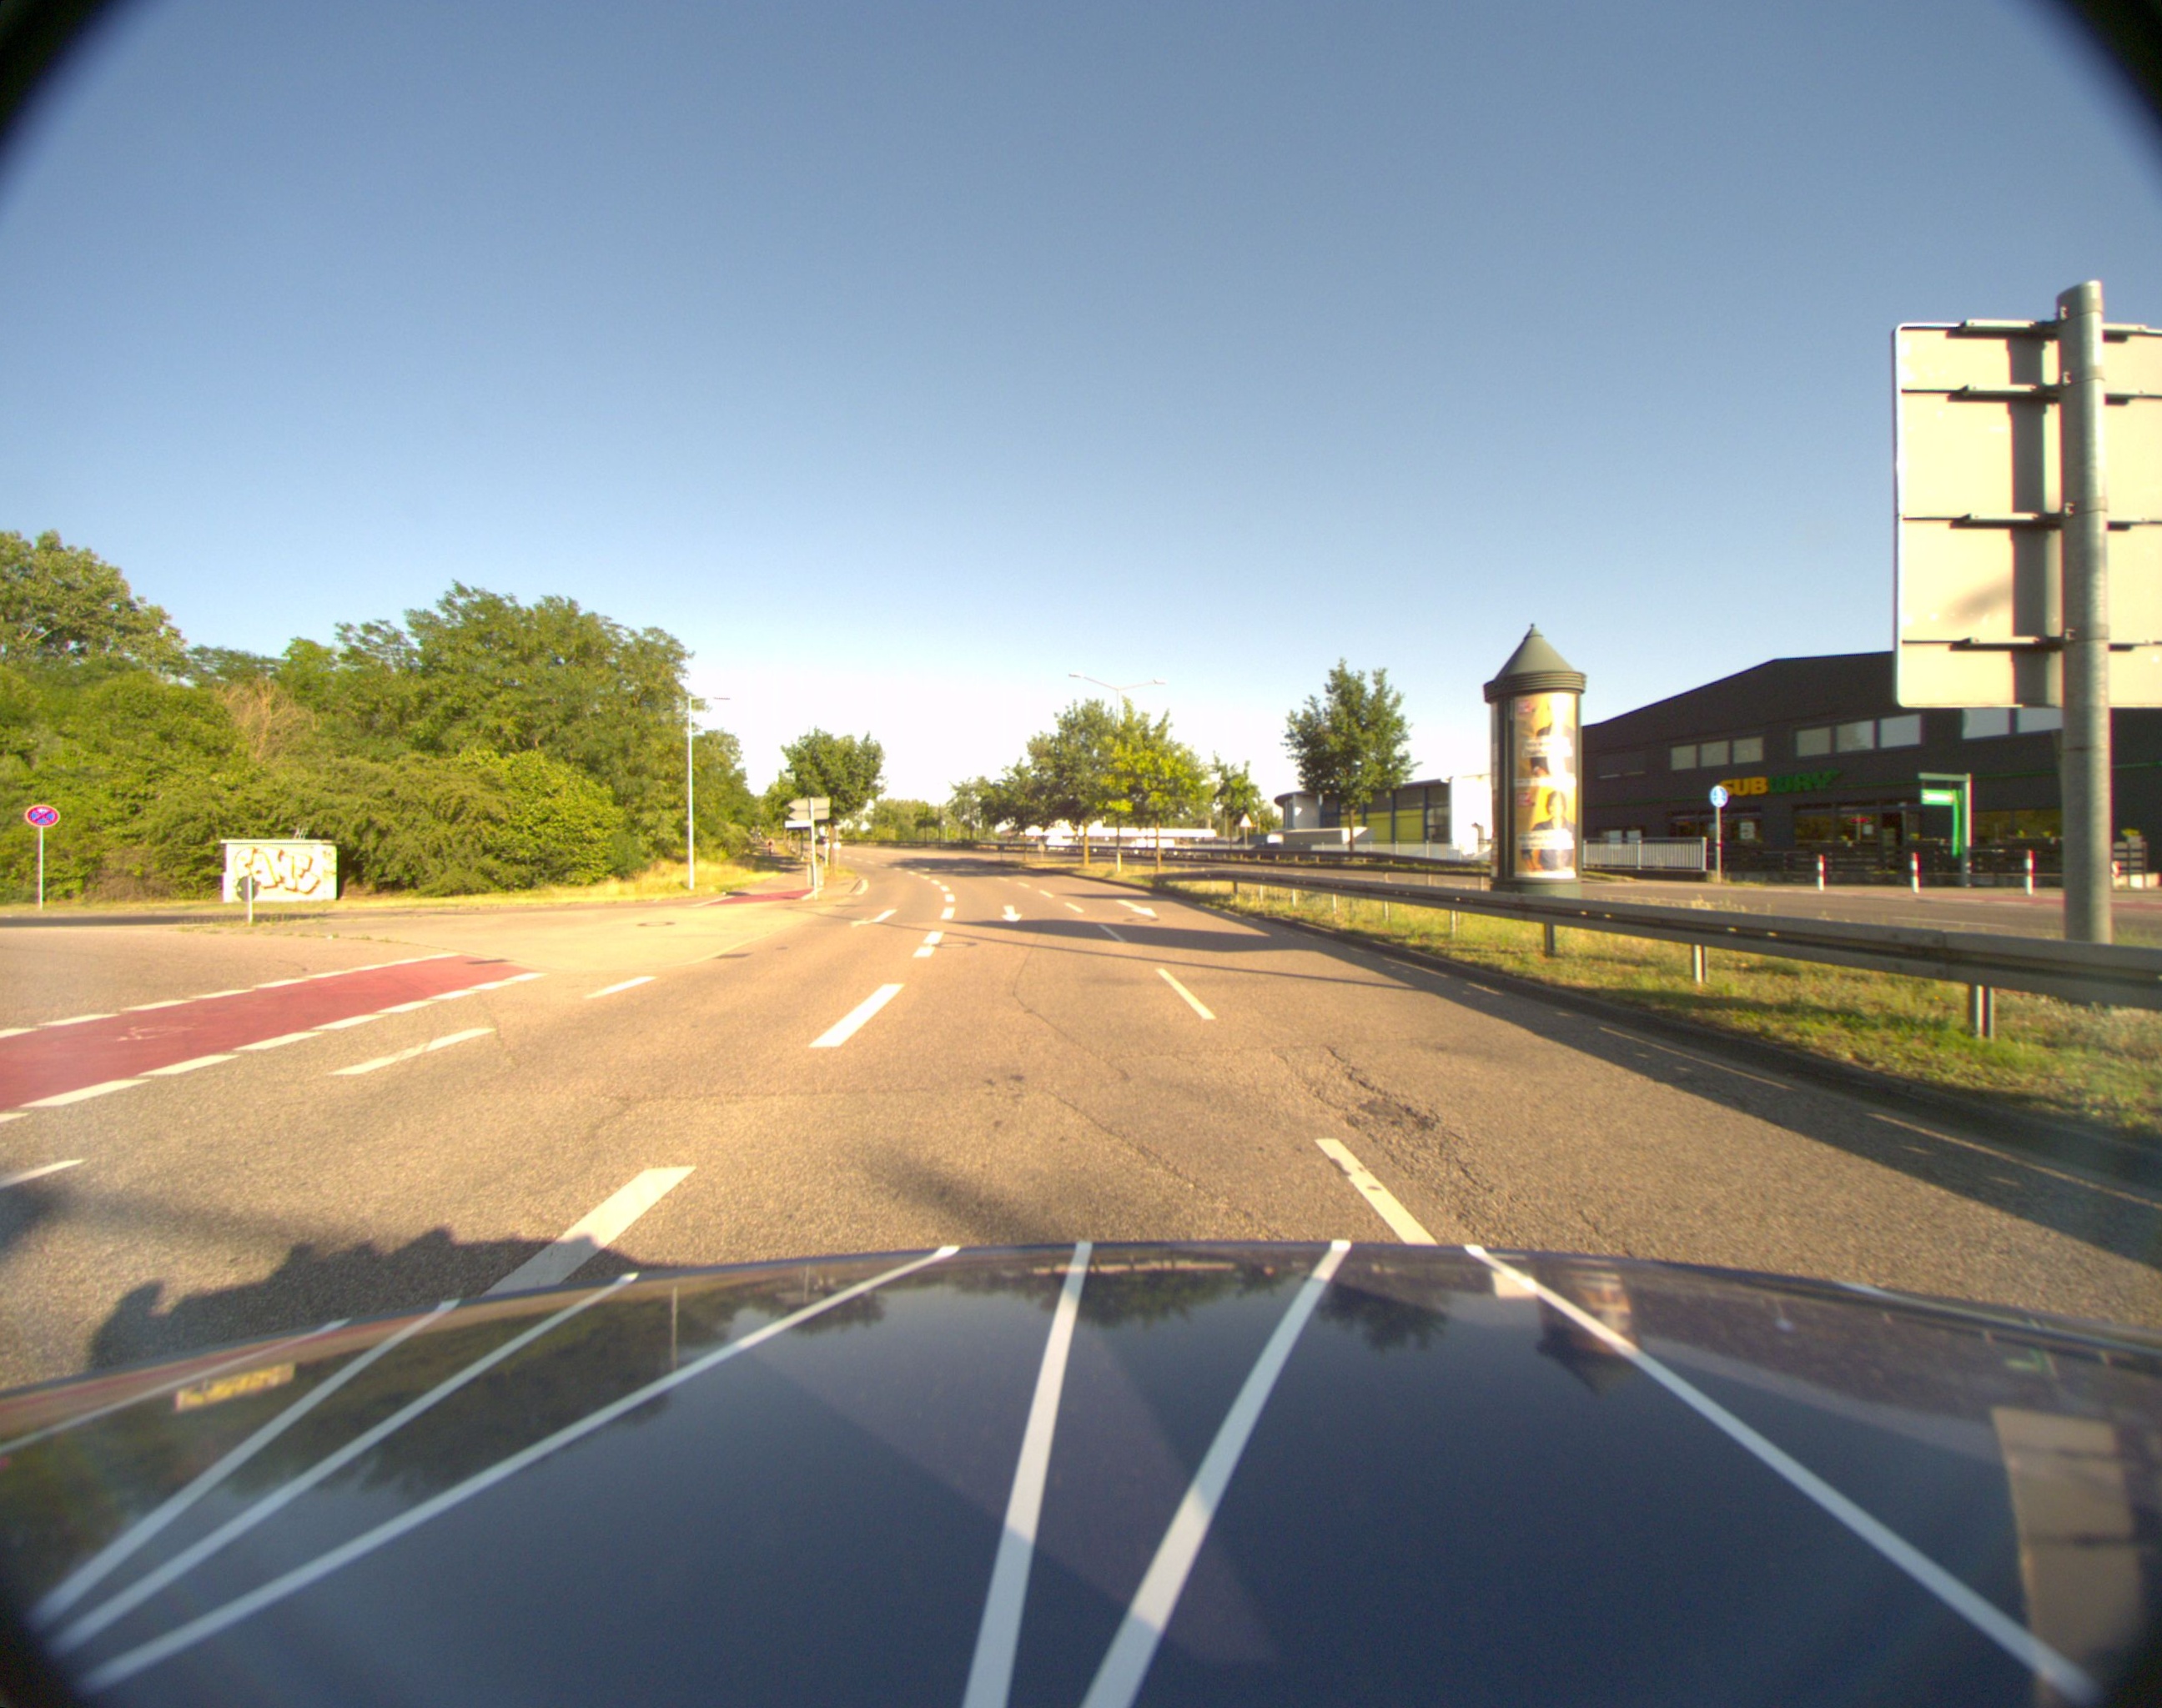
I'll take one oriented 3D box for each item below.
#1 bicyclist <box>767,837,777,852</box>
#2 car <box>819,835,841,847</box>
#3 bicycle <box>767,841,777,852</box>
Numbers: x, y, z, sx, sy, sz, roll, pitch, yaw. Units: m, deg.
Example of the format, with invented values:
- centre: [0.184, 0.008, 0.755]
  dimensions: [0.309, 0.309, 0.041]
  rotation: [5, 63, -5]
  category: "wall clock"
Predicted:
- centre: [-30.425, -0.961, 74.802]
  dimensions: [0.844, 1.413, 1.112]
  rotation: [-3, 1, -20]
  category: "bicyclist"
- centre: [-40.165, -2.105, 121.607]
  dimensions: [2.003, 1.762, 3.989]
  rotation: [-3, 1, -39]
  category: "car"
- centre: [-30.404, -0.764, 74.806]
  dimensions: [0.783, 1.051, 2.492]
  rotation: [-3, 1, -21]
  category: "bicycle"
